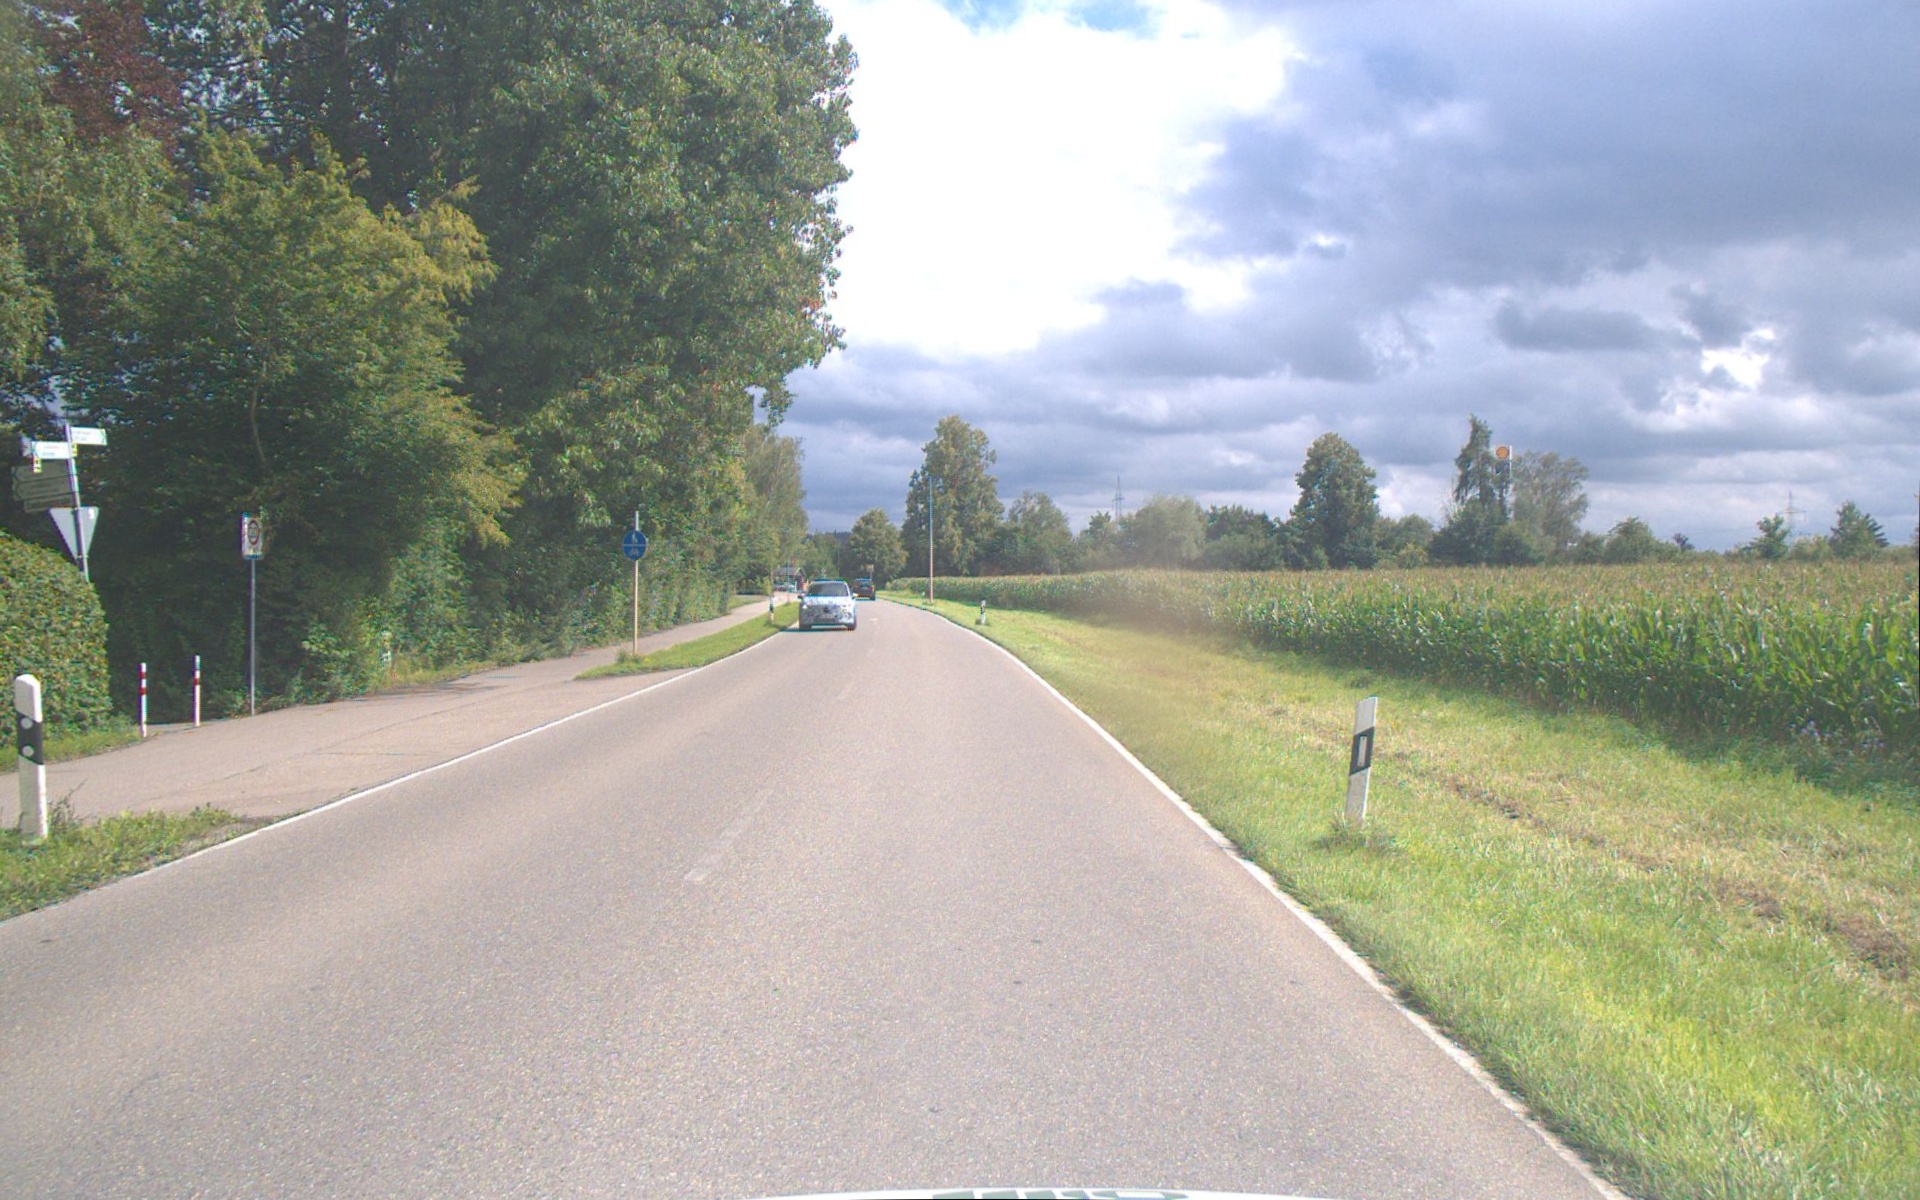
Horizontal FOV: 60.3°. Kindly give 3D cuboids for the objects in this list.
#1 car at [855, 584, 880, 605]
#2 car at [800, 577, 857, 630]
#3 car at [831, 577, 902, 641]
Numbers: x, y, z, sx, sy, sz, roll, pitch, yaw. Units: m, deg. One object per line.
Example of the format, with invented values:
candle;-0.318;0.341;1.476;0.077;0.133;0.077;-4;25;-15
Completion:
car;-7.389;-0.413;132.479;1.954;1.612;3.998;2;0;-2
car;-4.415;0.079;55.979;1.775;1.679;4.289;-2;1;-3
car;-3.238;0.278;56.564;1.957;2.049;3.992;2;0;-9
